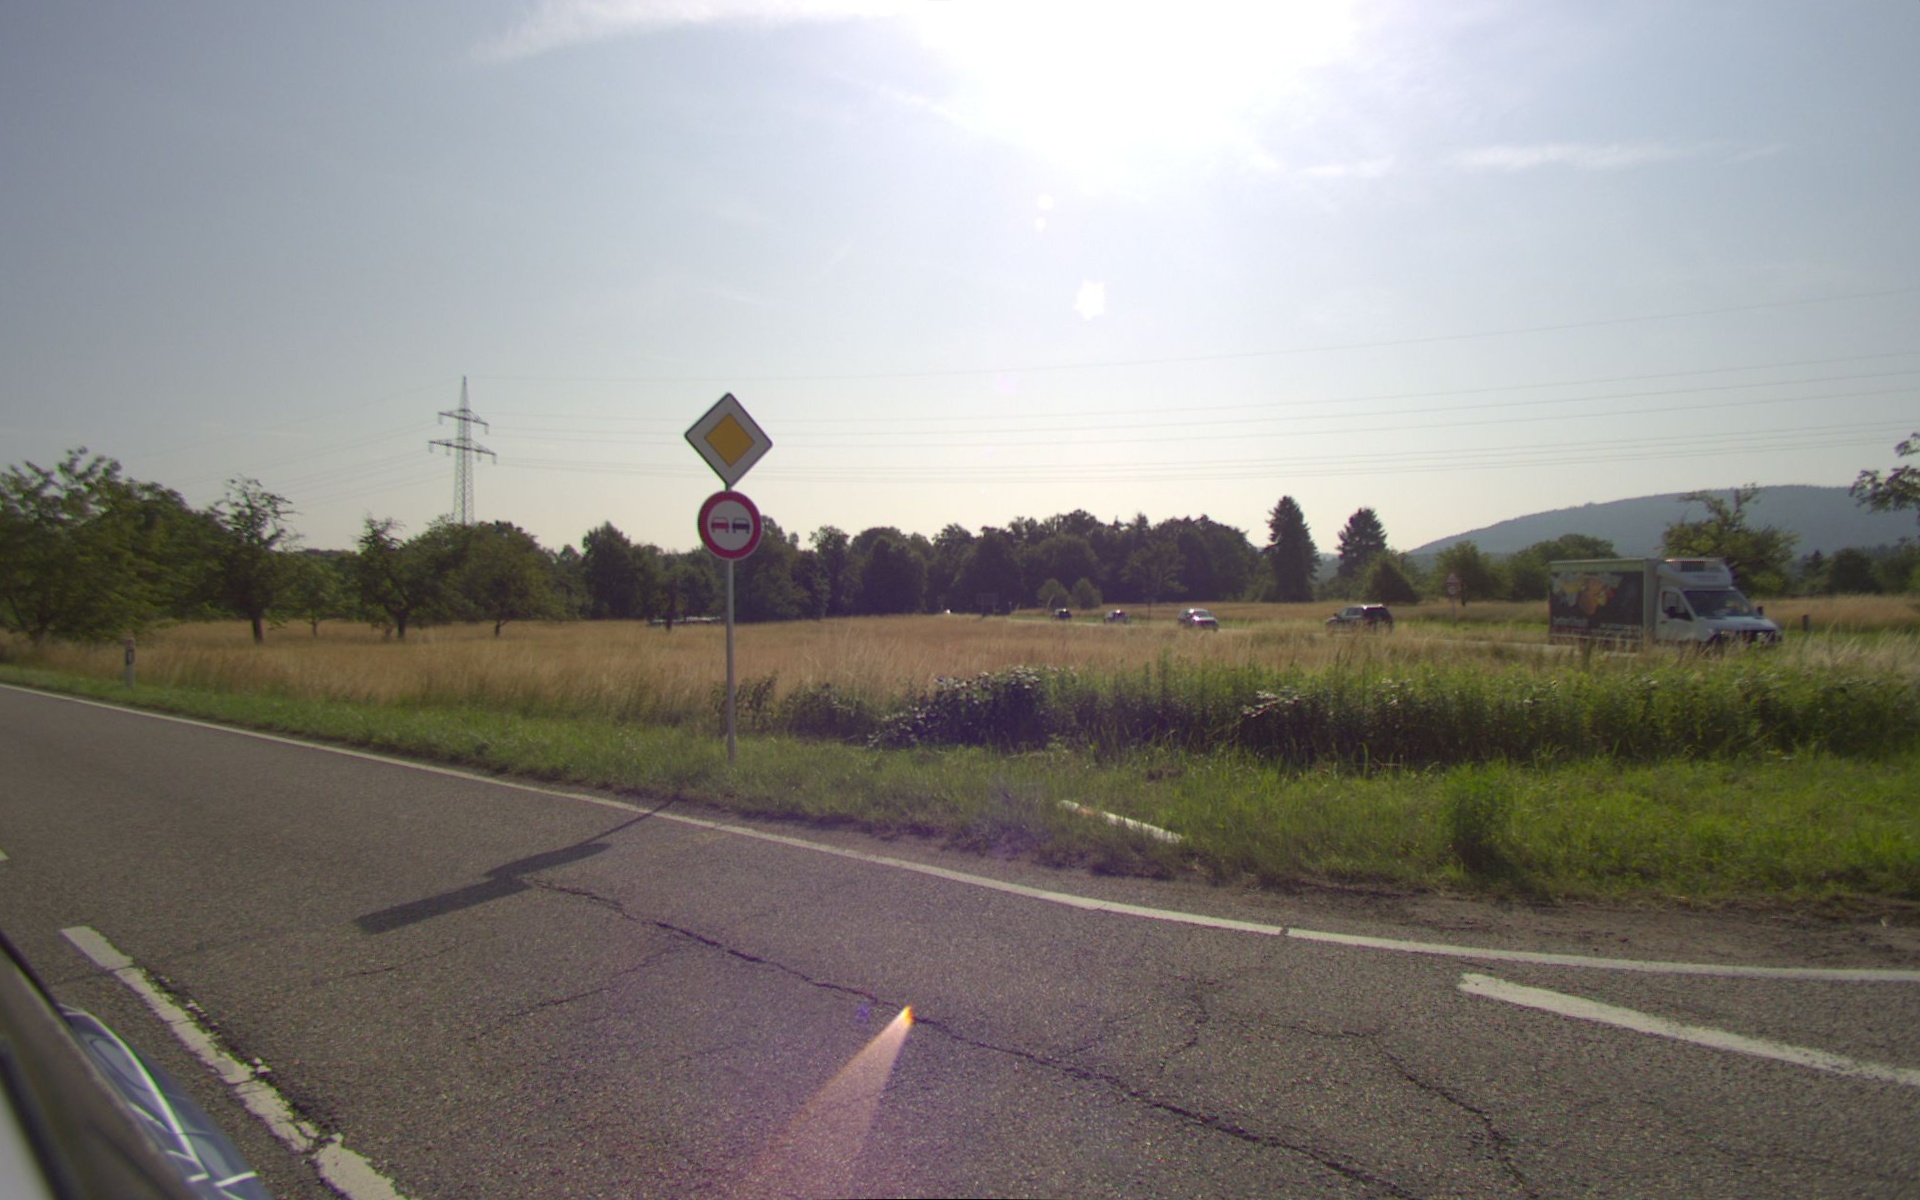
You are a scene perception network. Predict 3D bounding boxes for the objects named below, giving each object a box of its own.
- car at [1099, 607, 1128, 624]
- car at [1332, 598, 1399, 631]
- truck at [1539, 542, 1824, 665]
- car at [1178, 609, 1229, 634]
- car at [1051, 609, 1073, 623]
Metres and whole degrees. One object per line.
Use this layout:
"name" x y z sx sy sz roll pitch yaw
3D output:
"car" 15.156 1.516 100.048 1.789 1.564 4.007 -1 0 -8
"car" 21.276 0.756 53.263 1.734 1.650 3.905 -1 0 -3
"truck" 20.389 0.108 29.313 2.545 3.068 7.371 -1 0 -4
"car" 16.186 1.436 67.545 1.788 1.564 4.009 -1 0 -11
"car" 12.442 1.959 124.076 1.789 1.564 4.007 -1 0 -8
